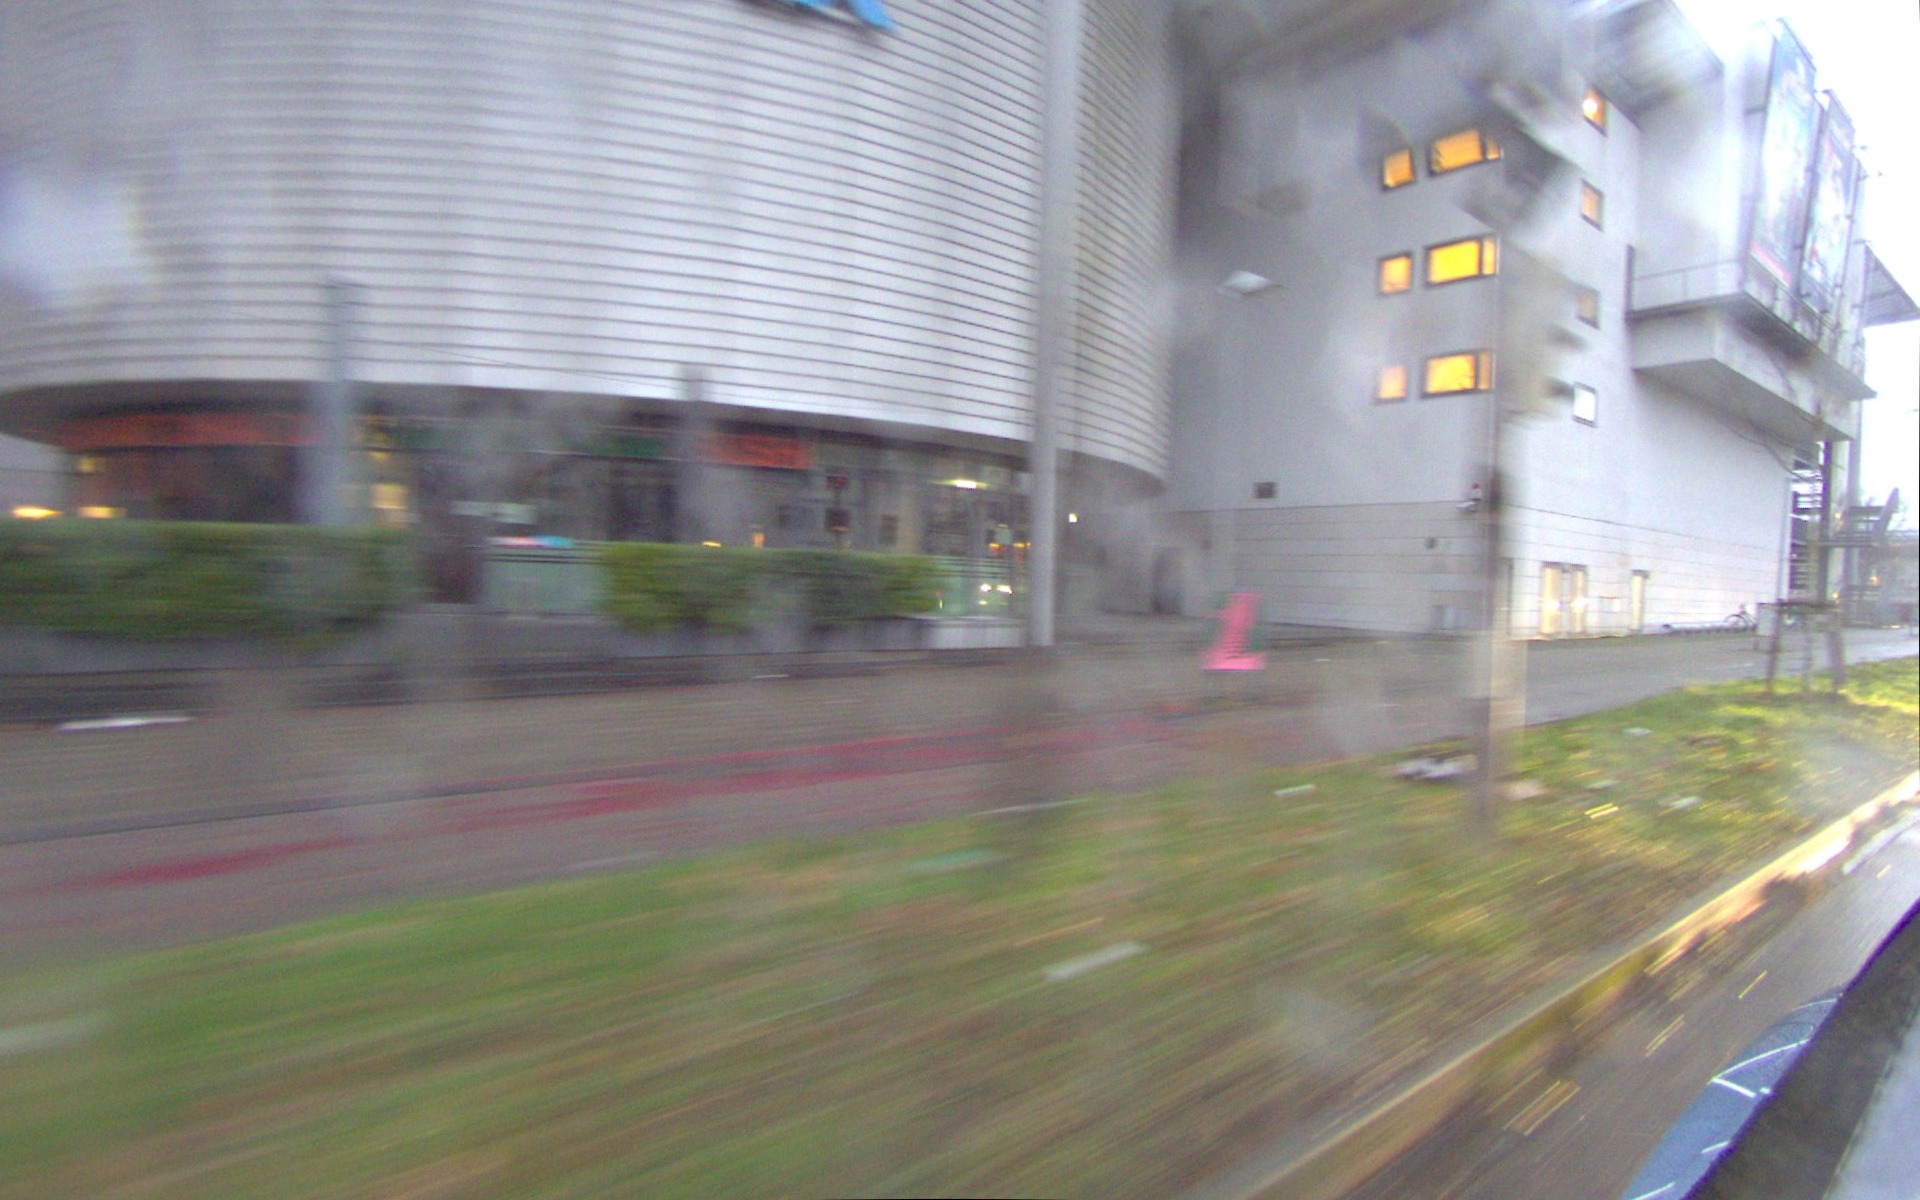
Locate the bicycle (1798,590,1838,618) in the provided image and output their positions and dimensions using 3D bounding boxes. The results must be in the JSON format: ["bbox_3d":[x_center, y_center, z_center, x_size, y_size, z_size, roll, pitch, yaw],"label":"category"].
[{"bbox_3d":[39.408,0.187,46.468,1.708,1.301,0.412,0,-1,-12],"label":"bicycle"}]
